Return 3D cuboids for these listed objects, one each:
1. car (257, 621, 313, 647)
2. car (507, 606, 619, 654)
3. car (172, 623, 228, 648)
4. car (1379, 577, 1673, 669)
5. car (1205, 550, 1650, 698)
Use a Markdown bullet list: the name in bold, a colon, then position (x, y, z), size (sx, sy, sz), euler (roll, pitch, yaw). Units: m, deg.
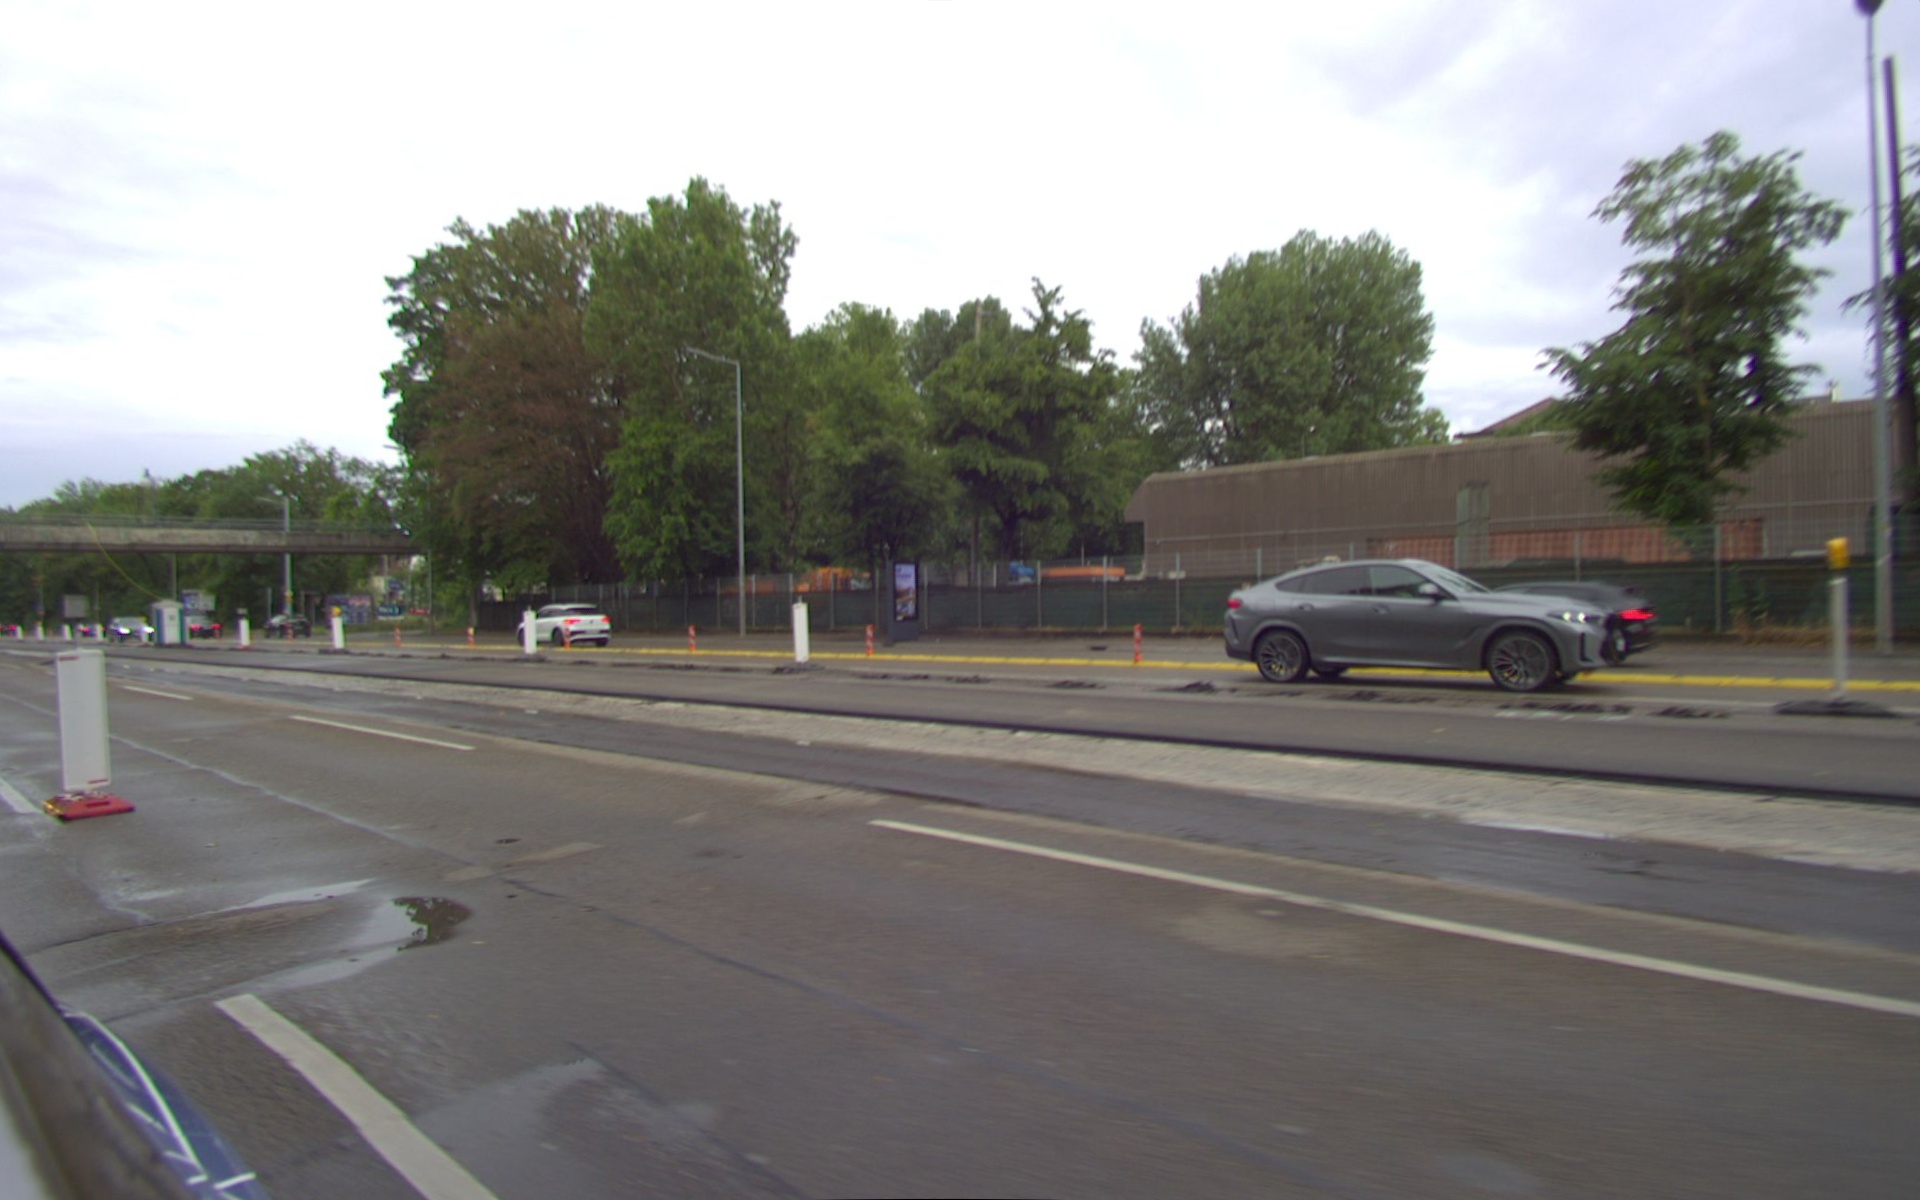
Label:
- **car**: position (-43.877, 2.166, 65.782), size (4.303, 1.529, 1.973), euler (-1, 1, 41)
- **car**: position (-14.145, 1.048, 35.946), size (4.264, 1.524, 1.973), euler (-2, 0, 41)
- **car**: position (-52.062, 2.420, 69.290), size (5.087, 1.524, 2.056), euler (-2, 0, 42)
- **car**: position (9.973, 0.385, 17.996), size (4.262, 1.440, 1.973), euler (-2, 0, 40)
- **car**: position (6.088, 0.269, 13.581), size (5.053, 1.625, 2.055), euler (-1, 1, 41)
